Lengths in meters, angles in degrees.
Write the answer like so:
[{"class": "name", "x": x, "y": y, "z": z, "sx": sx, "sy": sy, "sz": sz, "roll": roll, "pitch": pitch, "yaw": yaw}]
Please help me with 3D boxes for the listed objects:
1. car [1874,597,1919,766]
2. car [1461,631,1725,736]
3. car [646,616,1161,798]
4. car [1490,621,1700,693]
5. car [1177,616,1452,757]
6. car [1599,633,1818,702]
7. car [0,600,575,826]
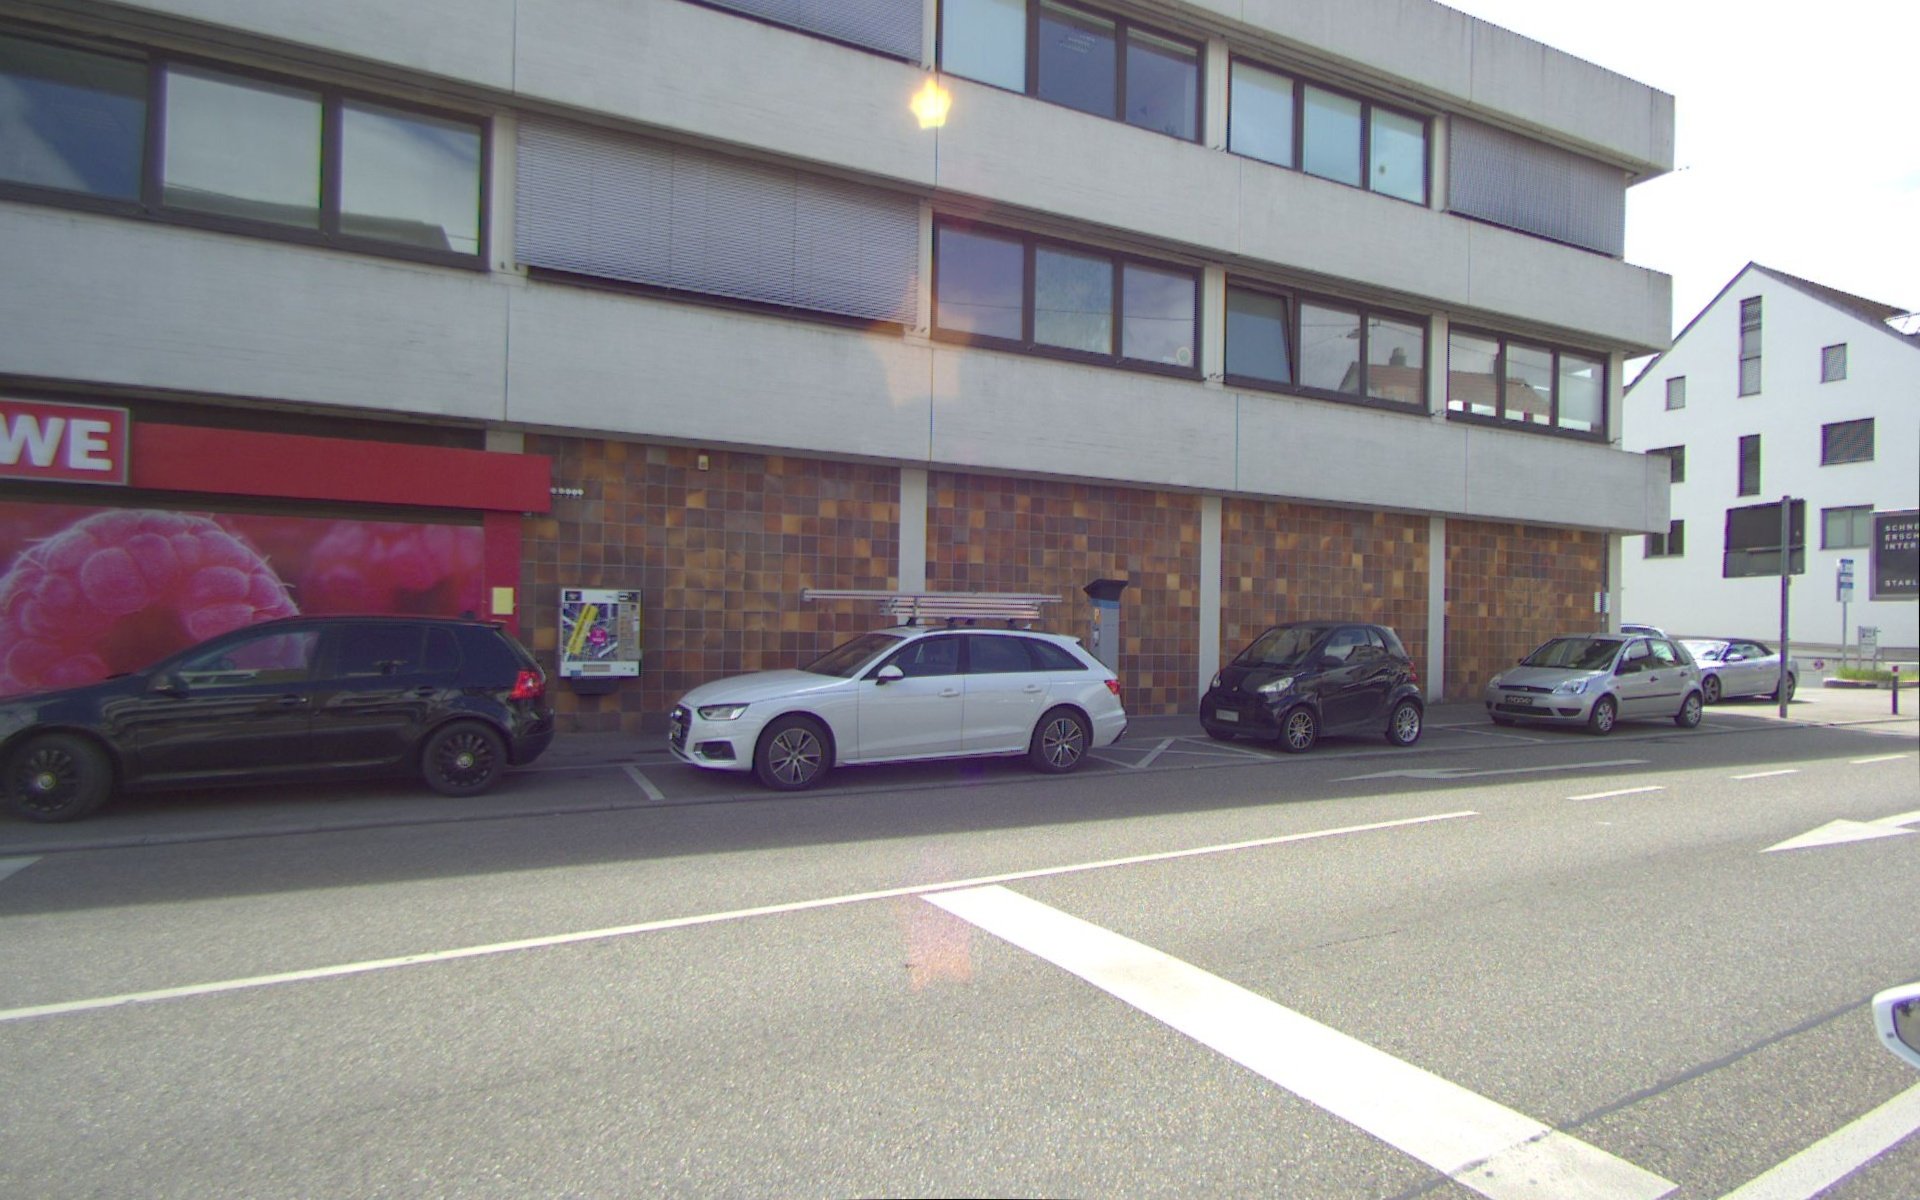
[{"class": "car", "x": 12.585, "y": 0.917, "z": 11.525, "sx": 4.228, "sy": 1.845, "sz": 1.936, "roll": 1, "pitch": -2, "yaw": -30}, {"class": "car", "x": 10.042, "y": 1.239, "z": 15.887, "sx": 4.095, "sy": 1.441, "sz": 1.715, "roll": 1, "pitch": 0, "yaw": -28}, {"class": "car", "x": -0.530, "y": 0.943, "z": 10.303, "sx": 4.887, "sy": 1.463, "sz": 2.037, "roll": 1, "pitch": 0, "yaw": -27}, {"class": "car", "x": 15.661, "y": 1.390, "z": 24.755, "sx": 4.859, "sy": 1.640, "sz": 1.947, "roll": 1, "pitch": -4, "yaw": -24}, {"class": "car", "x": 4.537, "y": 1.028, "z": 12.902, "sx": 3.016, "sy": 1.576, "sz": 1.730, "roll": 1, "pitch": 0, "yaw": -27}, {"class": "car", "x": 16.653, "y": 1.454, "z": 22.313, "sx": 4.791, "sy": 1.376, "sz": 1.945, "roll": 1, "pitch": -2, "yaw": -26}, {"class": "car", "x": -5.569, "y": 0.791, "z": 8.324, "sx": 4.232, "sy": 1.495, "sz": 2.036, "roll": 1, "pitch": 0, "yaw": -28}]
